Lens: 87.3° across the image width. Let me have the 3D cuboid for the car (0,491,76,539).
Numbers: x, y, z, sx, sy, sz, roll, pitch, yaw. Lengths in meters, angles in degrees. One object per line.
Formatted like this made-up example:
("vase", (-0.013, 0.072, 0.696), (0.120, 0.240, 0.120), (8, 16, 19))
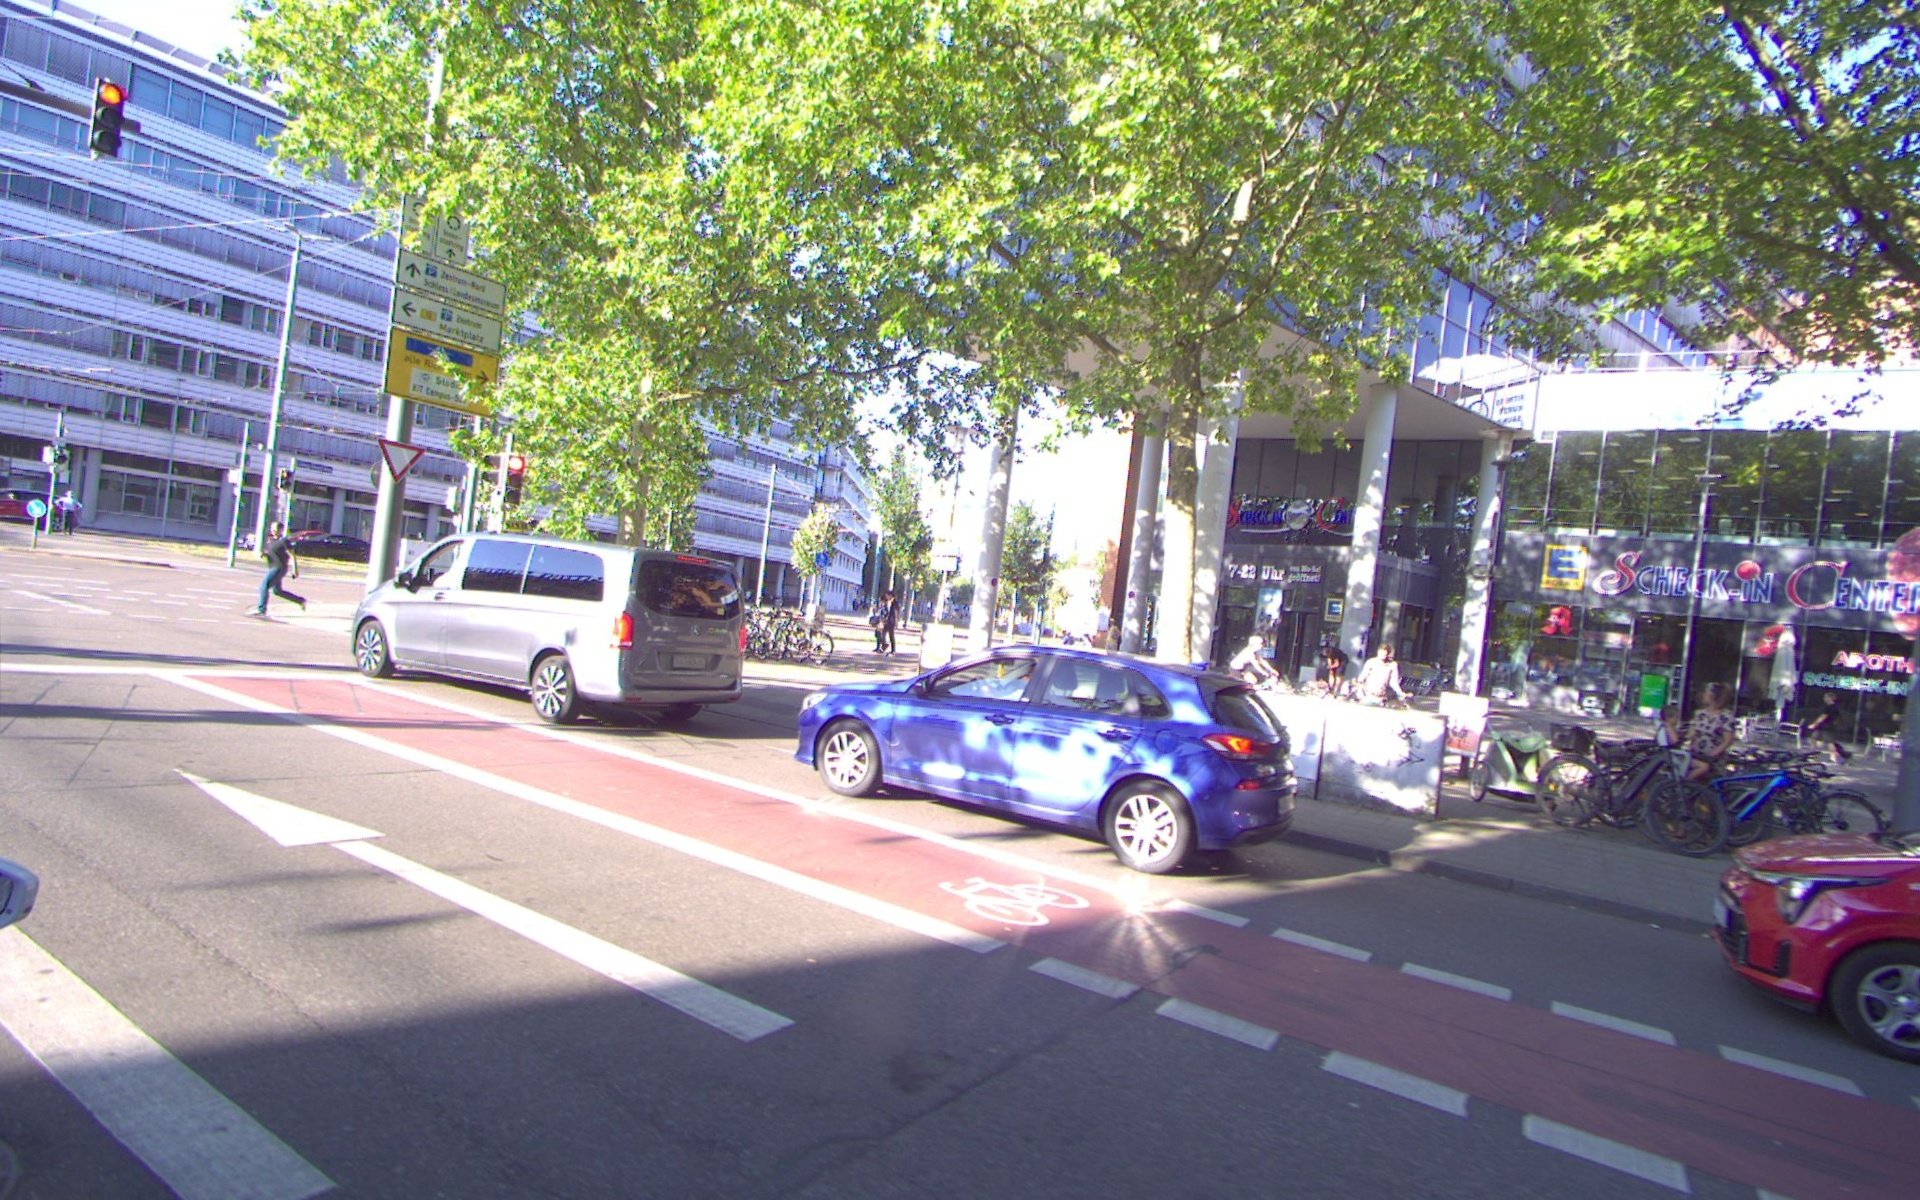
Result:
("car", (-39.385, -3.654, 41.318), (1.766, 1.621, 4.245), (7, 0, 33))

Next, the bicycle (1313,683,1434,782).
("bicycle", (5.891, 1.864, 14.360), (1.451, 1.174, 0.421), (7, 1, 30))

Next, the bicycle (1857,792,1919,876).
("bicycle", (9.949, 2.453, 10.587), (1.100, 0.770, 0.396), (7, 0, -31))

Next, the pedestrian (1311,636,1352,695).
("pedestrian", (11.256, 1.981, 30.469), (0.851, 1.661, 0.967), (7, 0, 28))

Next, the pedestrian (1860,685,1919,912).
("pedestrian", (8.241, 1.662, 8.335), (0.794, 1.808, 0.874), (7, 1, 26))

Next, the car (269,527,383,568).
("car", (-30.727, -2.519, 48.853), (1.768, 1.409, 4.241), (7, -1, 36))

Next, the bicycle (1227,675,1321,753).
("bicycle", (4.983, 1.806, 16.025), (0.393, 1.038, 1.305), (6, 0, -42))

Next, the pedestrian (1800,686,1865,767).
("pedestrian", (22.009, 3.188, 25.387), (0.990, 1.867, 0.844), (6, 1, -33))

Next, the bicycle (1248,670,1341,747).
("bicycle", (5.424, 1.749, 16.339), (0.393, 1.038, 1.305), (6, 0, -42))

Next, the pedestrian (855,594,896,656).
("pedestrian", (-2.463, 0.732, 29.533), (0.851, 1.701, 0.849), (7, -1, 6))

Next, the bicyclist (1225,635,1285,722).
("bicyclist", (5.943, 1.581, 20.287), (0.560, 1.636, 0.811), (6, 1, -43))

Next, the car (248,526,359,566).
("car", (-32.881, -2.686, 50.484), (1.768, 1.409, 4.239), (7, 0, 38))

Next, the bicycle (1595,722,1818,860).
("bicycle", (8.218, 2.074, 11.168), (0.591, 1.130, 1.811), (6, 0, -31))

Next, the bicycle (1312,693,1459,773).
("bicycle", (6.939, 2.161, 16.548), (0.661, 0.945, 2.167), (7, -1, -31))

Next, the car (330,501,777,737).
("car", (-4.798, 0.151, 11.629), (5.052, 1.988, 1.998), (7, -2, 32))

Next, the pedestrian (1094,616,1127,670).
("pedestrian", (4.942, 1.424, 33.004), (0.694, 1.661, 0.775), (7, 1, 27))

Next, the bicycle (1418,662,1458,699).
("bicycle", (16.310, 2.755, 34.280), (0.709, 1.142, 1.912), (7, 0, 38))

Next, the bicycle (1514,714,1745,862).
("bicycle", (6.859, 1.896, 10.415), (0.591, 1.130, 1.811), (6, 0, -31))

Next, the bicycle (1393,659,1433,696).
("bicycle", (15.648, 2.671, 34.755), (0.709, 1.142, 1.912), (7, 0, 38))

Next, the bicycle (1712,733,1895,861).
("bicycle", (9.785, 2.266, 11.722), (1.450, 1.174, 0.479), (7, 1, 23))

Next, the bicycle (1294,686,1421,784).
("bicycle", (5.428, 1.823, 13.767), (1.451, 1.095, 0.421), (7, 1, 30))

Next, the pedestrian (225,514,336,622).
("pedestrian", (-12.864, -0.590, 19.081), (1.023, 1.843, 1.212), (6, -2, 26))

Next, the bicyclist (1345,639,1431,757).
("bicyclist", (7.014, 1.598, 16.518), (0.744, 1.790, 0.845), (6, 1, -31))

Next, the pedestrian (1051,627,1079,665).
("pedestrian", (4.345, 1.918, 41.660), (0.763, 1.460, 0.705), (7, 1, 34))

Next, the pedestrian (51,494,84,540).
("pedestrian", (-34.887, -3.245, 39.332), (0.549, 1.701, 0.720), (7, -1, 38))

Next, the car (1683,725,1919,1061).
("car", (5.967, 1.662, 5.019), (3.561, 1.481, 1.561), (7, -1, 31))

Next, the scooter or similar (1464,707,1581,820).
("scooter or similar", (6.667, 1.908, 11.999), (0.899, 1.154, 1.259), (5, -4, 18))

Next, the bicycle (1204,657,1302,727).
("bicycle", (5.891, 1.840, 20.304), (0.564, 1.140, 1.757), (6, 0, -43))

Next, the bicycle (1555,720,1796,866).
("bicycle", (7.567, 2.005, 10.753), (0.591, 1.130, 1.933), (6, 0, -31))

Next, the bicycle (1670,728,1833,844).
("bicycle", (9.994, 2.329, 12.756), (1.450, 1.174, 0.421), (7, 1, 23))

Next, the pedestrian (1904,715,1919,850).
("pedestrian", (12.146, 2.179, 12.202), (0.759, 1.779, 0.817), (7, 1, 37))

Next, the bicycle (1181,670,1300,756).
("bicycle", (4.180, 1.666, 15.027), (1.545, 1.038, 0.461), (7, 1, 29))

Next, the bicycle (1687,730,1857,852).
("bicycle", (9.855, 2.300, 12.260), (1.450, 1.174, 0.421), (7, 1, 23))

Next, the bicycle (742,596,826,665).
("bicycle", (-3.892, 0.668, 22.207), (1.855, 1.302, 0.450), (7, 1, 30))

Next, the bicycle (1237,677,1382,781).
("bicycle", (4.489, 1.635, 12.970), (1.548, 1.070, 0.627), (7, 0, 38))

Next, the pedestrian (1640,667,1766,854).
("pedestrian", (7.765, 1.665, 10.517), (0.800, 1.808, 0.652), (6, 1, -32))

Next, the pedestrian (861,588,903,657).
("pedestrian", (-2.213, 0.657, 28.595), (0.851, 1.841, 0.849), (7, -1, 4))

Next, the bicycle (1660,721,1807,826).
("bicycle", (10.750, 2.391, 14.033), (1.450, 1.174, 0.421), (7, 1, 23))

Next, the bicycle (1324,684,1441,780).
("bicycle", (6.284, 1.944, 14.994), (1.452, 1.174, 0.421), (7, 1, 32))

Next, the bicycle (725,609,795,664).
("bicycle", (-4.285, 0.777, 21.505), (1.451, 0.995, 0.450), (7, 1, 30))

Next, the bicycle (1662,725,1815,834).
("bicycle", (10.402, 2.386, 13.495), (1.450, 1.174, 0.421), (7, 1, 23))

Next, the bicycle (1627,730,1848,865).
("bicycle", (8.806, 2.202, 11.481), (0.602, 1.130, 1.811), (6, 0, -31))

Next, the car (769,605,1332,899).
("car", (0.663, 1.047, 8.289), (4.146, 1.482, 1.767), (7, 0, 30))

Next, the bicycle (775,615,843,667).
("bicycle", (-3.405, 0.912, 22.670), (1.451, 0.995, 0.450), (7, 1, 30))
